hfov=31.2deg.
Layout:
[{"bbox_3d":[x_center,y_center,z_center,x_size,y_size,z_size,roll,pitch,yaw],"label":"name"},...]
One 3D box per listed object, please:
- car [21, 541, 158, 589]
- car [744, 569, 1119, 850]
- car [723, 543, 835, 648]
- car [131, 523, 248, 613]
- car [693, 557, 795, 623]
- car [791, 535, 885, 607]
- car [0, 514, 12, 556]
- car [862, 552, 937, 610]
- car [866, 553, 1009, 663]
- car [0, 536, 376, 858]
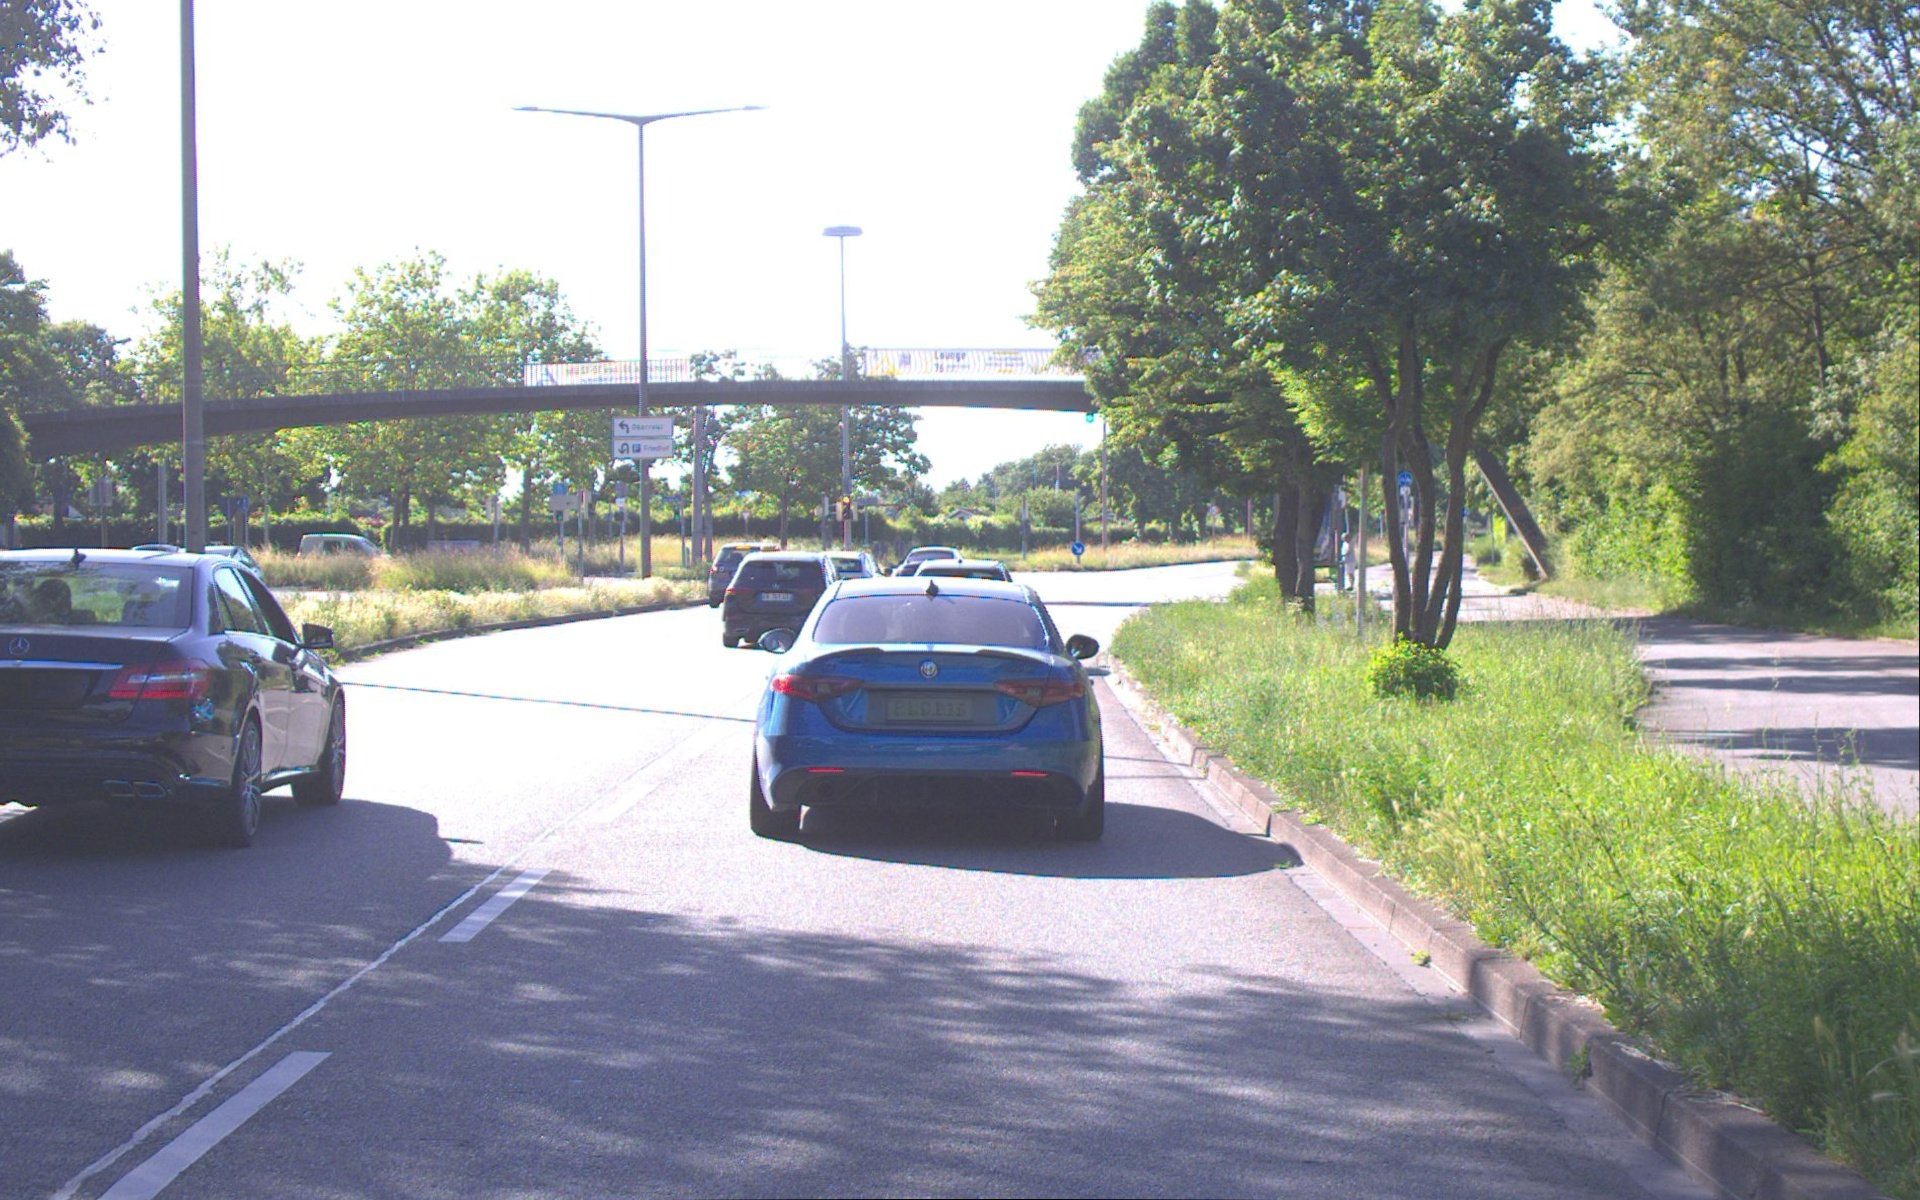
[{"bbox_3d":[-31.002,-1.255,122.460,4.311,1.645,1.998,1,0,20],"label":"car"},{"bbox_3d":[-0.176,0.540,19.574,1.883,1.401,4.224,1,0,-1],"label":"car"},{"bbox_3d":[-2.916,-0.089,55.177,1.707,1.592,4.224,1,0,-3],"label":"car"},{"bbox_3d":[-18.000,-0.740,80.479,1.993,2.007,4.583,1,0,-4],"label":"car"},{"bbox_3d":[-5.317,-0.250,84.840,1.797,1.550,3.729,1,0,8],"label":"car"},{"bbox_3d":[-2.556,-0.610,72.824,1.883,1.449,4.526,1,0,-1],"label":"car"},{"bbox_3d":[-48.993,-3.212,167.903,4.786,2.007,2.000,1,0,2],"label":"car"},{"bbox_3d":[-1.576,-0.511,90.094,1.883,1.449,4.526,1,0,-1],"label":"car"},{"bbox_3d":[-0.334,0.088,48.209,1.883,1.449,4.526,1,0,-1],"label":"car"},{"bbox_3d":[-4.486,0.417,18.238,1.959,1.478,4.918,0,1,0],"label":"car"}]
